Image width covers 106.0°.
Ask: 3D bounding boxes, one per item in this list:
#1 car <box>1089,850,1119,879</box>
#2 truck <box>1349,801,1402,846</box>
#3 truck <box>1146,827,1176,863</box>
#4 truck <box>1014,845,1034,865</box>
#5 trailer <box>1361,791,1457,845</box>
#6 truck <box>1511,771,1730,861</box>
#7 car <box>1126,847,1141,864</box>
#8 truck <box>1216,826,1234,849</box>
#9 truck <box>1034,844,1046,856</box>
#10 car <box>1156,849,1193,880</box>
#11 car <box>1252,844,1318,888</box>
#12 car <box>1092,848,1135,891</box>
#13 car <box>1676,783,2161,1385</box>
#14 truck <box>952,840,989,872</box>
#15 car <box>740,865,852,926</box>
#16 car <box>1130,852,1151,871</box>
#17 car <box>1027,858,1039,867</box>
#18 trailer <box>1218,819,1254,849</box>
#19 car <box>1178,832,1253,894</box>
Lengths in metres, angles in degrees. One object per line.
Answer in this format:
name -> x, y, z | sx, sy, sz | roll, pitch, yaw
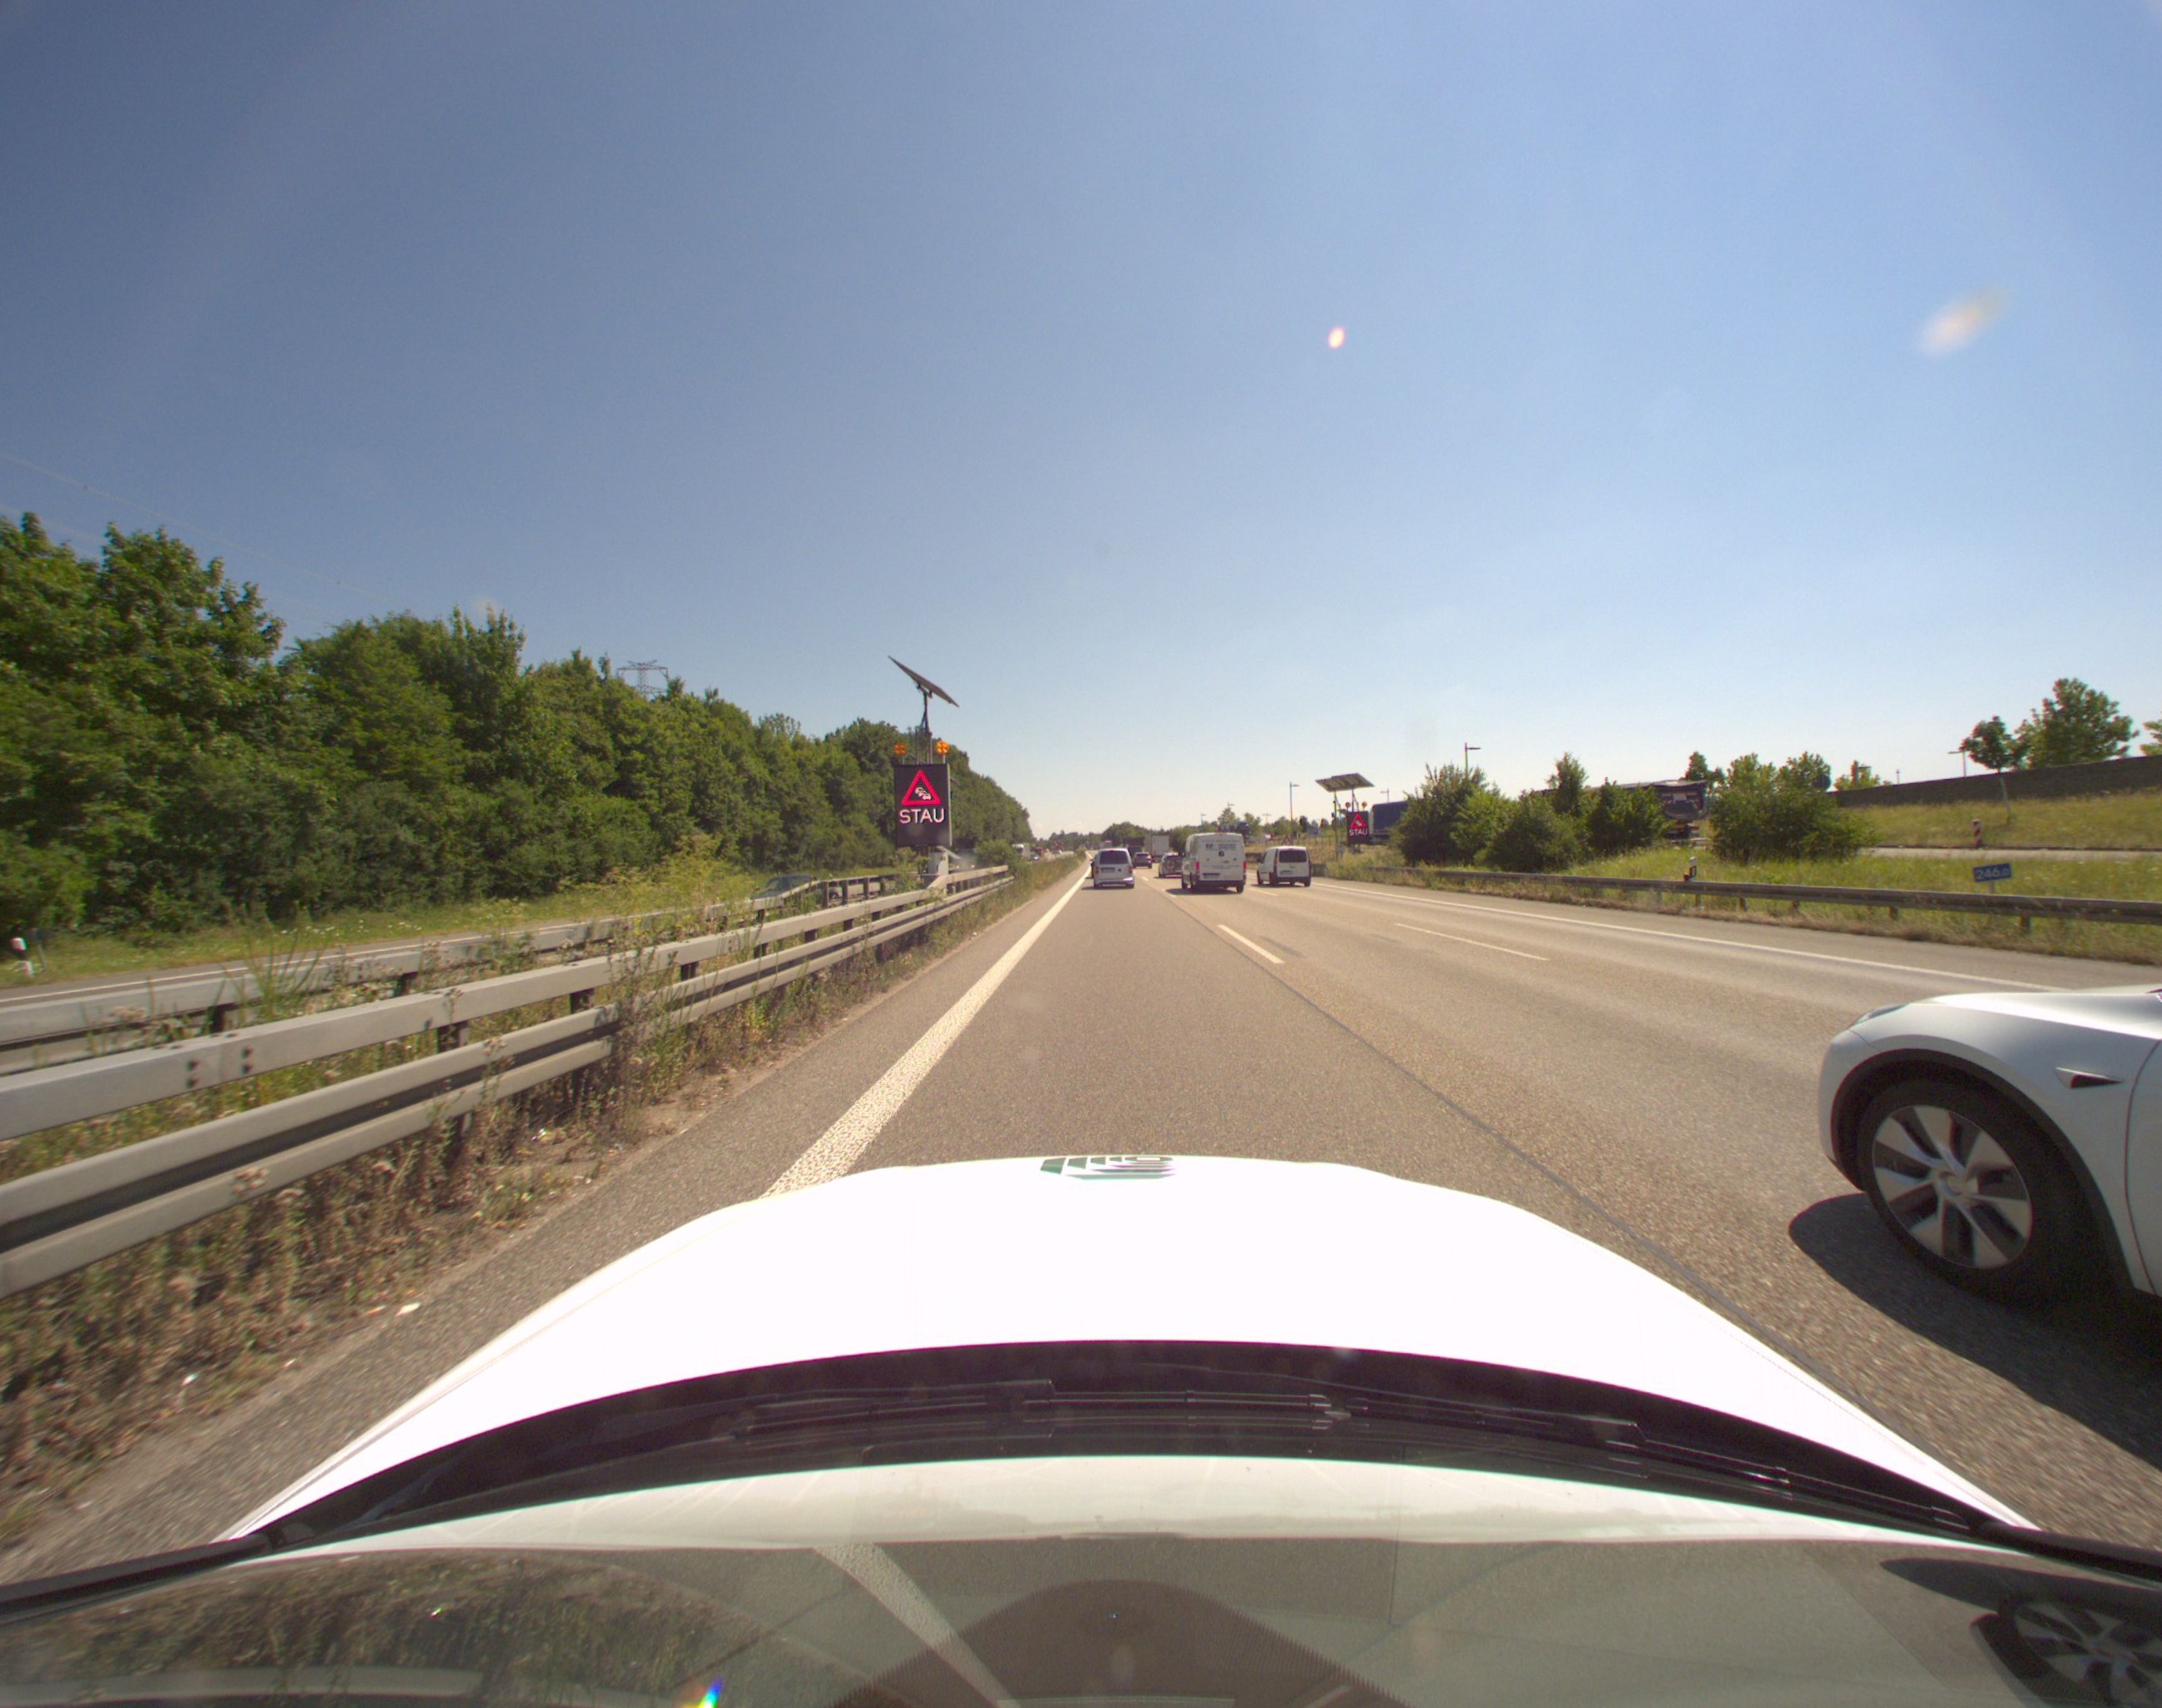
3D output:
car -> 1.495, 0.647, 51.908 | 1.738, 1.701, 4.091 | -2, 0, 3
truck -> 28.708, -2.876, 79.702 | 3.041, 4.083, 6.399 | 0, 0, 1
truck -> 11.687, -1.276, 120.040 | 3.773, 5.000, 12.526 | 0, 0, 3
truck -> -12.536, 0.195, 178.798 | 3.442, 3.994, 11.122 | -2, 0, 0
trailer -> 28.603, -2.927, 72.093 | 3.041, 4.083, 14.260 | 0, 0, 1
truck -> 27.799, -1.678, 43.257 | 3.773, 4.083, 12.525 | 0, 0, 2
car -> 6.223, 0.142, 96.994 | 1.668, 1.891, 4.091 | -2, 0, 3
truck -> 24.970, -2.885, 141.344 | 2.593, 3.827, 4.000 | 0, -1, 1
truck -> -12.633, -1.243, 251.546 | 2.773, 3.738, 11.158 | 0, 0, 1
car -> 5.731, 0.630, 50.295 | 1.968, 1.733, 4.091 | -2, 0, 3
car -> 9.233, 0.533, 37.218 | 1.944, 1.838, 4.178 | -2, 0, 1
car -> 1.489, 0.661, 36.926 | 1.738, 1.764, 4.091 | -2, 0, 3
car -> 3.876, 0.615, 1.269 | 1.943, 1.636, 5.602 | 0, 0, 2
truck -> -14.361, 0.285, 106.557 | 2.985, 3.802, 10.792 | -2, 0, 1
car -> -8.314, 1.144, 24.151 | 1.718, 1.526, 4.001 | -3, 0, 2
car -> 5.742, 0.730, 79.530 | 1.894, 1.672, 4.091 | -2, 0, 3
car -> -9.100, 1.585, 154.971 | 1.718, 1.656, 4.861 | -4, 0, 1
trailer -> 24.744, -3.103, 130.992 | 2.596, 4.258, 18.424 | 0, 0, 1
car -> 5.290, 0.362, 32.692 | 2.174, 2.254, 5.363 | -1, 0, 1
